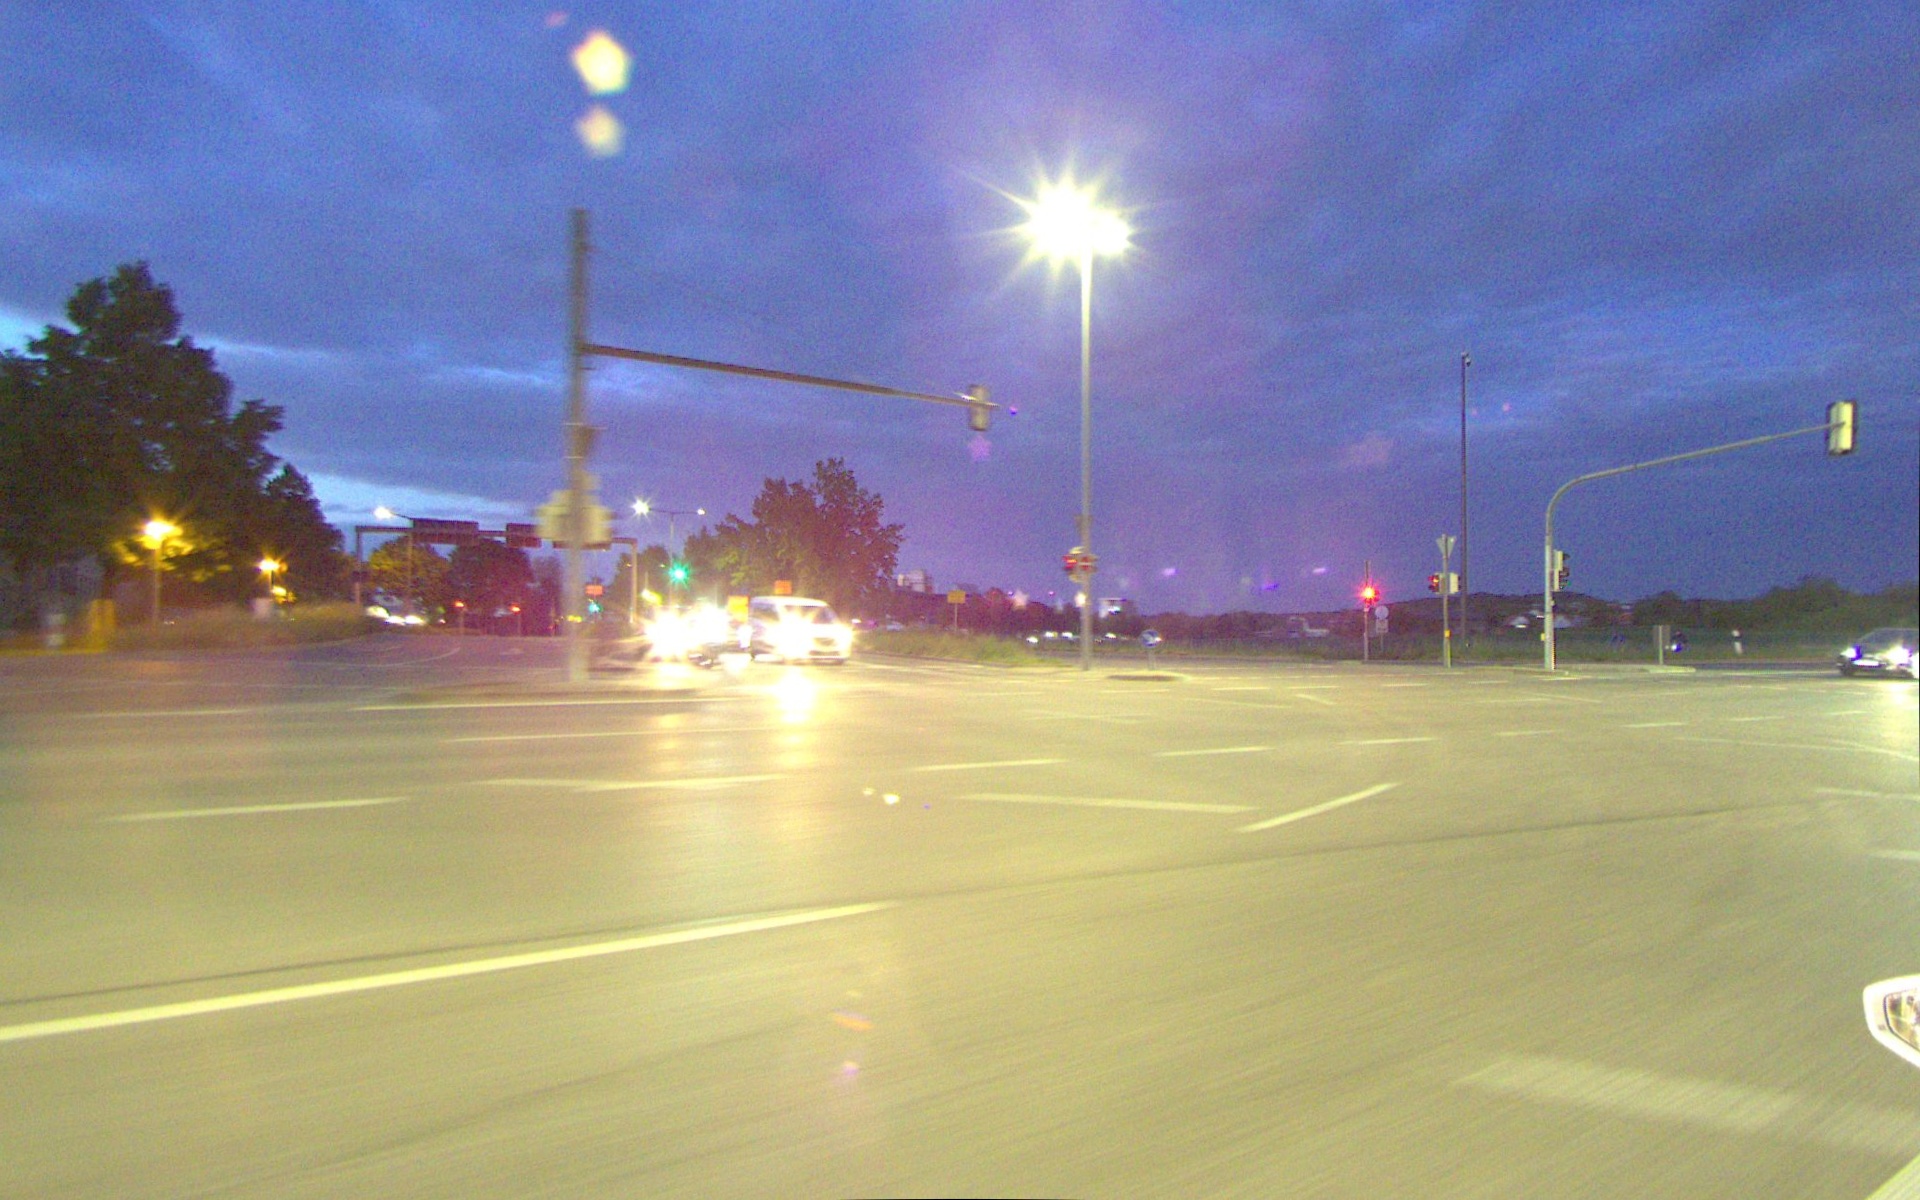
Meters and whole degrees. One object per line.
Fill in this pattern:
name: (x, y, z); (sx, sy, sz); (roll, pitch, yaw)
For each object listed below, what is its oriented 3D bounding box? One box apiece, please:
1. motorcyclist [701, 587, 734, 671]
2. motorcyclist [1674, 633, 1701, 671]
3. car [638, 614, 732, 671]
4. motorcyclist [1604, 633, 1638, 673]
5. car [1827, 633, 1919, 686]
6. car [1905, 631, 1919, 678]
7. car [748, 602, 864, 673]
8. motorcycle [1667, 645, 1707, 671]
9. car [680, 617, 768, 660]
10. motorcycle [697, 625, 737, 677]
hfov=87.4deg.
motorcyclist: (-5.974, 0.710, 24.721); (0.627, 2.040, 0.763); (1, -1, -23)
motorcyclist: (35.402, 2.531, 48.881); (0.780, 1.781, 0.679); (4, -6, -28)
car: (-7.745, 1.137, 28.071); (1.752, 1.466, 3.754); (2, -1, -27)
motorcyclist: (31.342, 2.510, 47.622); (0.856, 1.831, 0.914); (3, -7, -17)
car: (28.319, 1.755, 30.255); (4.233, 1.465, 1.775); (1, -1, -25)
car: (33.469, 1.804, 33.368); (3.949, 1.545, 1.825); (1, -2, -27)
car: (-4.463, 1.030, 28.553); (1.826, 1.838, 4.741); (2, -1, -27)
motorcycle: (35.367, 2.840, 48.865); (1.799, 1.196, 0.844); (4, -6, -28)
car: (-8.580, 1.364, 36.241); (1.854, 1.416, 4.802); (2, -2, -29)
motorcycle: (-5.960, 1.230, 24.554); (0.663, 1.179, 1.798); (1, -1, -23)
